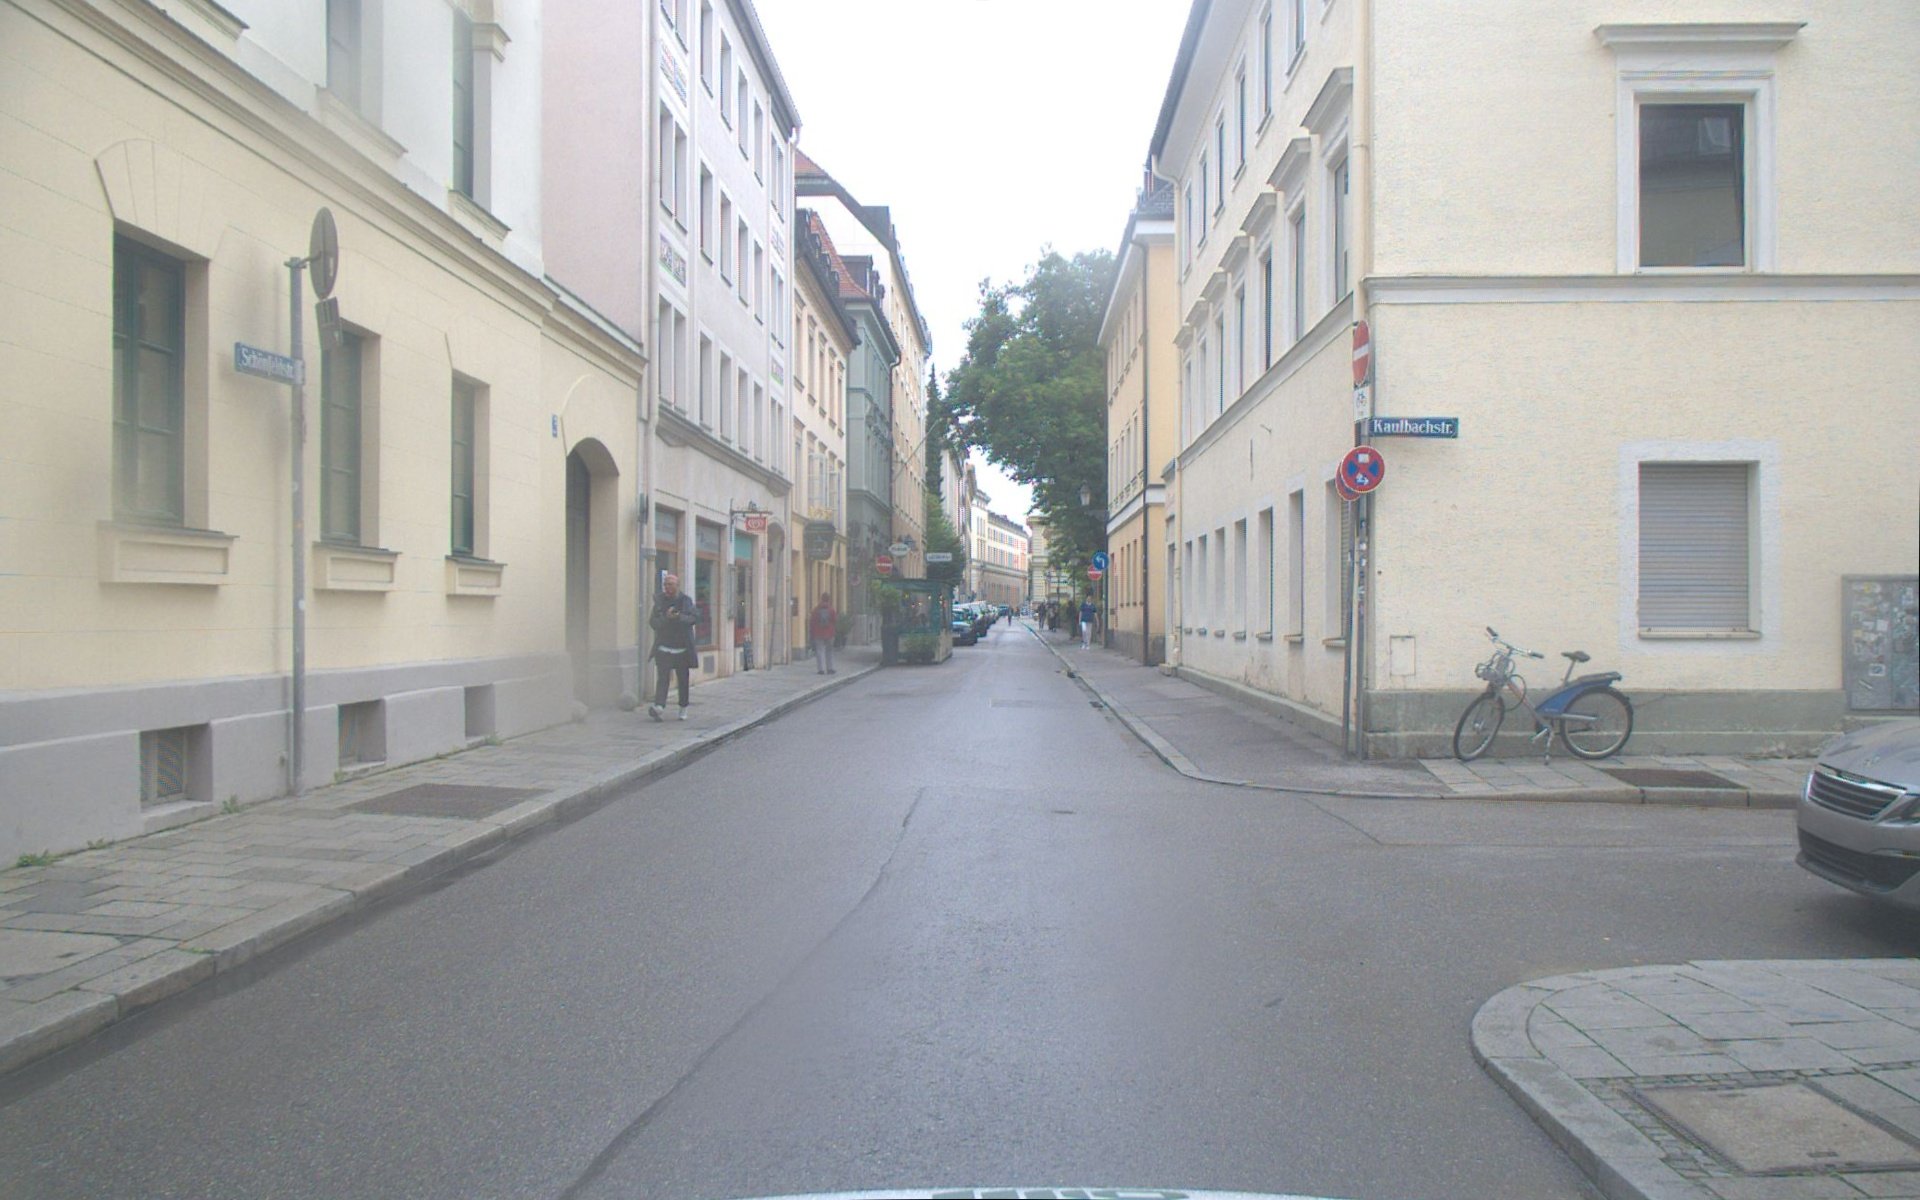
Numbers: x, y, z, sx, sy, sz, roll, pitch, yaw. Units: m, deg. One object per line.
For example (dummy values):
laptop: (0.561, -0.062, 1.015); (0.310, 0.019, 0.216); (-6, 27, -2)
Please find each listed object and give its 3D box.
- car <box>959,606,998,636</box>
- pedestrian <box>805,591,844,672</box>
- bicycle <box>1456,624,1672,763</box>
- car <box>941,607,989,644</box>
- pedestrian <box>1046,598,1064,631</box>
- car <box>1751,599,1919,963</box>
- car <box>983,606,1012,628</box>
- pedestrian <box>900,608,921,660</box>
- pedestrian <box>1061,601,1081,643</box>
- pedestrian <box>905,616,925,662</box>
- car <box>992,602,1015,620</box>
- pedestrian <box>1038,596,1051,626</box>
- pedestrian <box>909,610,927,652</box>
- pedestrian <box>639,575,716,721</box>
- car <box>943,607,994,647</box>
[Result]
car: (0.985, 1.043, 84.540); (1.742, 1.492, 3.544); (1, 0, 5)
pedestrian: (-2.930, 0.674, 35.803); (0.750, 1.738, 0.785); (-1, 0, 0)
bicycle: (5.395, 0.830, 14.830); (1.721, 1.164, 0.586); (-1, 2, 2)
car: (0.247, 1.040, 69.595); (1.742, 1.492, 3.544); (1, 0, 5)
pedestrian: (5.460, 0.817, 94.889); (0.994, 1.834, 1.349); (1, 0, 3)
car: (6.053, 0.777, 7.653); (3.931, 1.466, 1.766); (1, 2, 4)
car: (2.603, 1.162, 114.239); (1.742, 1.492, 3.544); (1, 0, 5)
pedestrian: (-1.301, 0.887, 43.438); (0.499, 1.350, 0.631); (1, 0, 0)
pedestrian: (4.874, 0.974, 72.802); (0.862, 1.834, 1.046); (1, 0, 3)
pedestrian: (-1.195, 1.043, 44.413); (0.499, 1.208, 0.631); (1, 0, 0)
car: (3.751, 0.972, 142.506); (1.742, 1.492, 3.544); (1, 0, 5)
pedestrian: (5.210, 0.674, 101.847); (0.777, 1.834, 0.903); (1, 0, 3)
pedestrian: (-1.287, 0.949, 50.857); (0.499, 1.259, 0.631); (1, 0, 0)
pedestrian: (-3.548, 0.586, 20.837); (0.793, 1.786, 0.990); (1, 1, 0)
car: (0.359, 1.045, 65.120); (1.742, 1.492, 3.665); (1, 0, 5)
